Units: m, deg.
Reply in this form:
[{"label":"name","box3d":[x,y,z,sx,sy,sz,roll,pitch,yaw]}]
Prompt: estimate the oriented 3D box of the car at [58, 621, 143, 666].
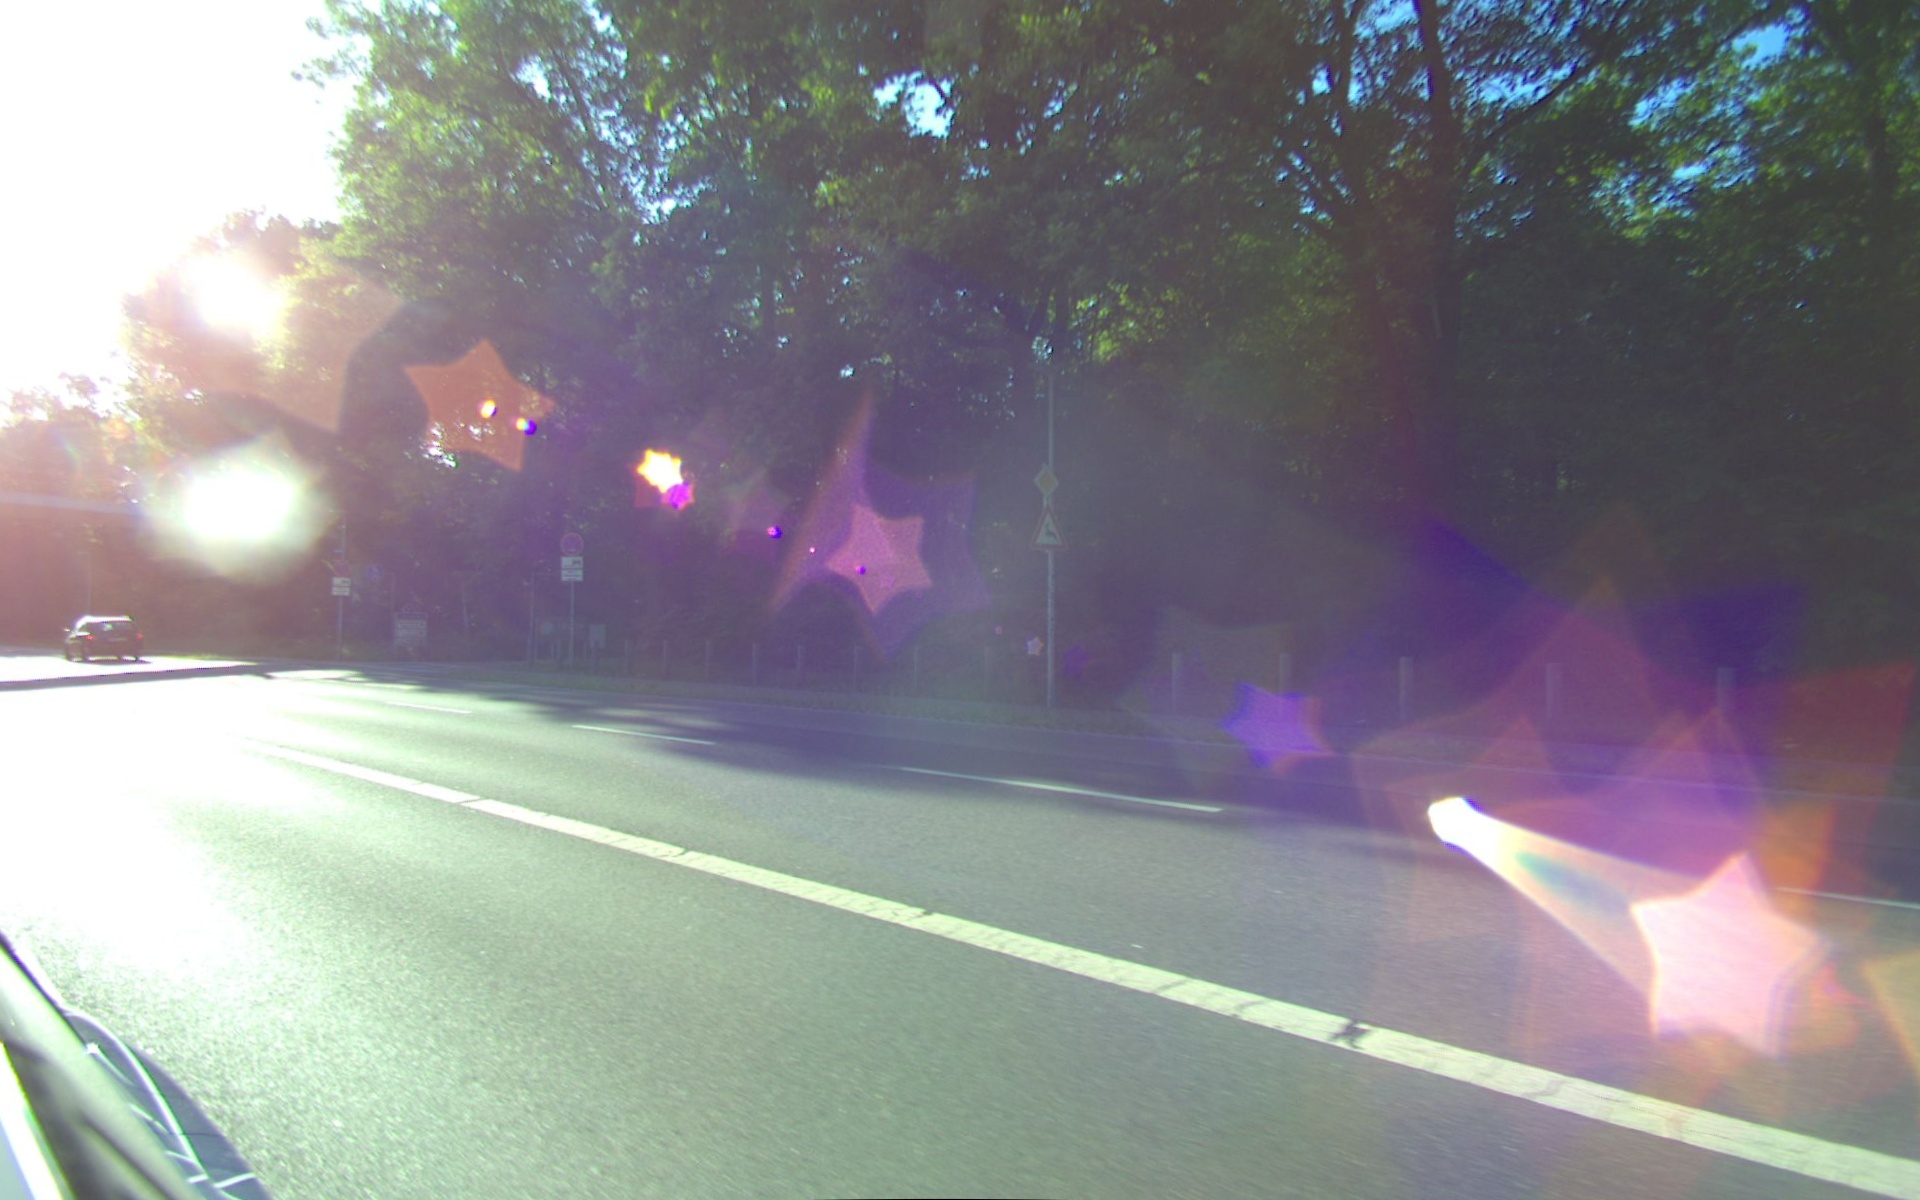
[{"label":"car","box3d":[-30.062,1.480,35.355,4.309,1.477,1.498,-1,-2,39]}]
